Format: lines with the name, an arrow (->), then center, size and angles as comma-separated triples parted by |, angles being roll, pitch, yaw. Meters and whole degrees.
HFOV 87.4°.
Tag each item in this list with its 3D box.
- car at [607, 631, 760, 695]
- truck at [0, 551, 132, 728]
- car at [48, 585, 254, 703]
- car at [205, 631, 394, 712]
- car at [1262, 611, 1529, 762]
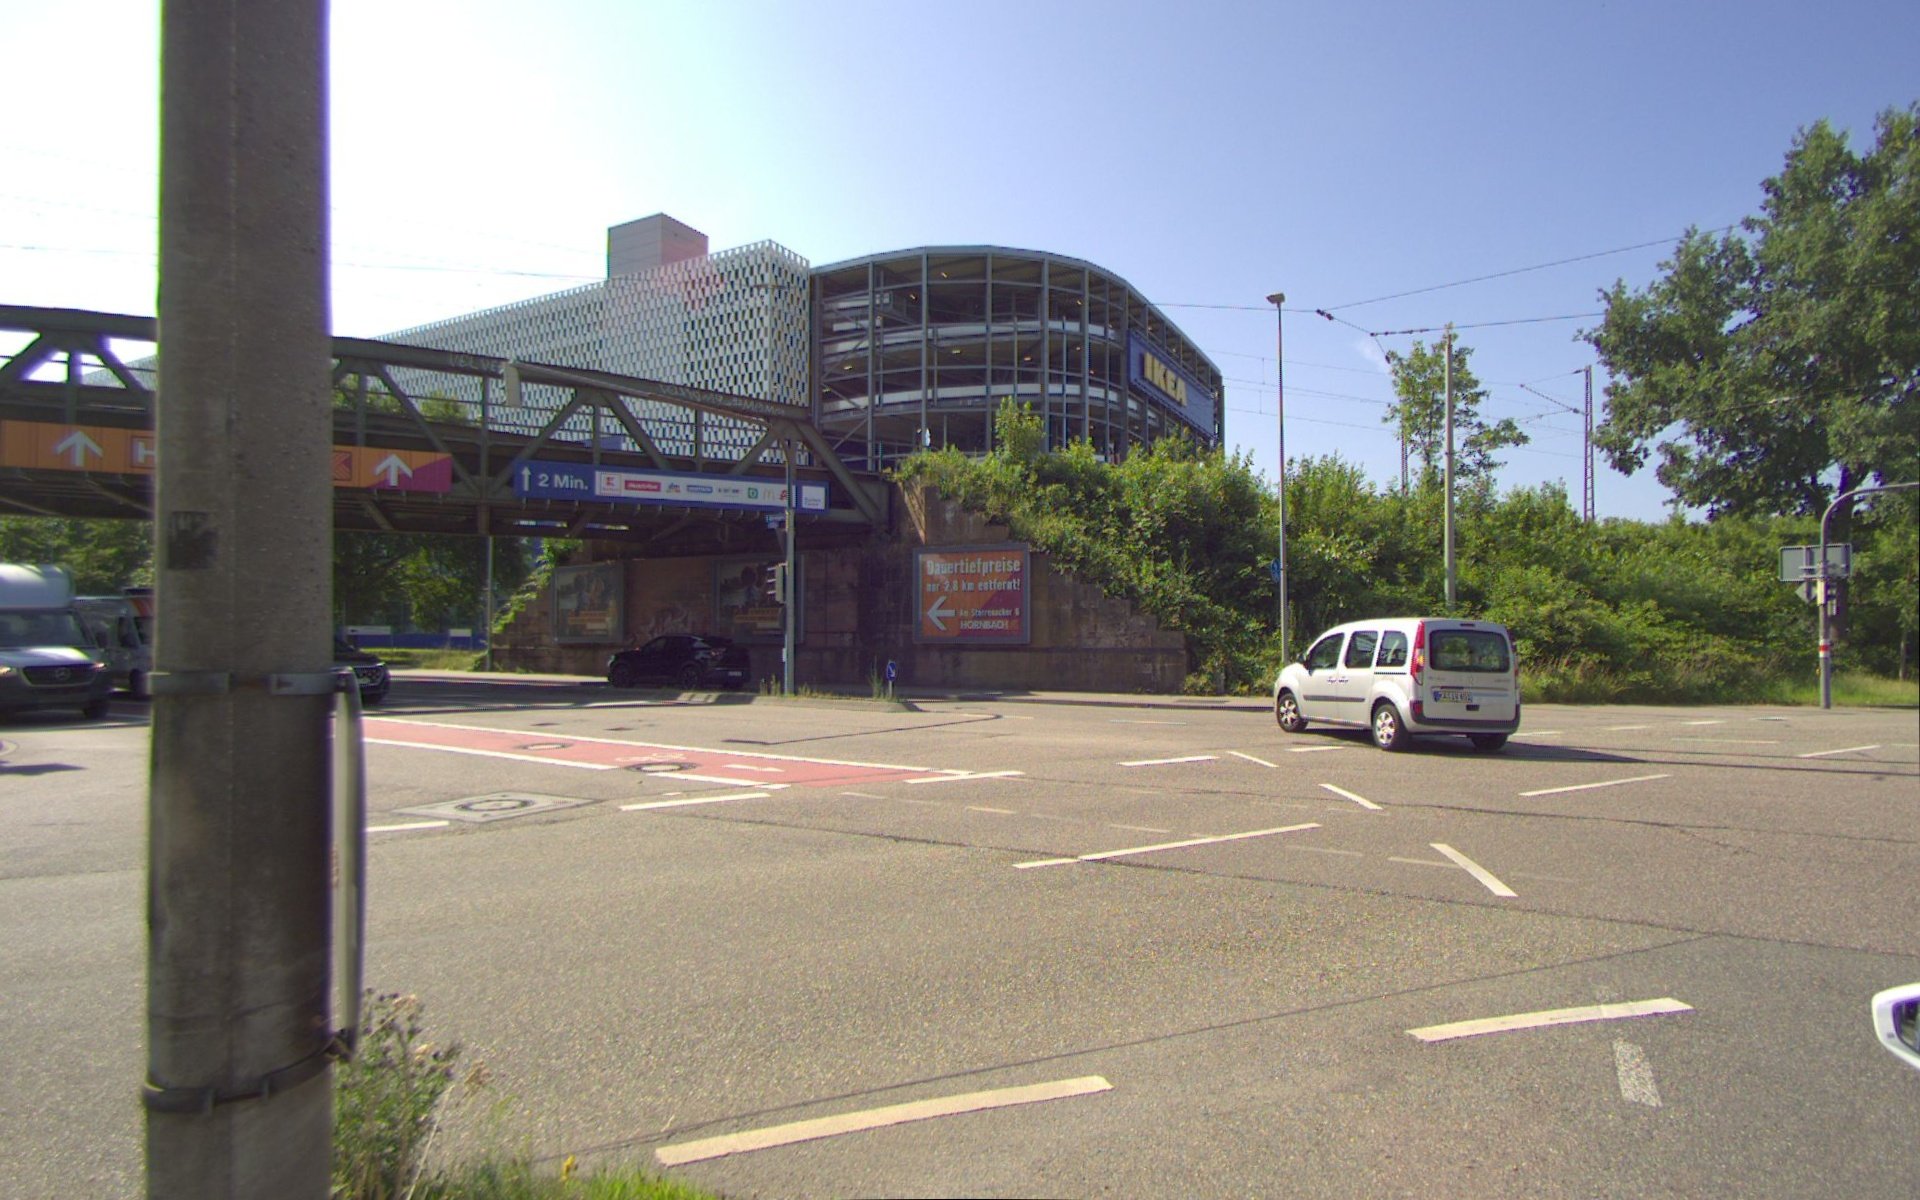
car -> -7.836, 1.720, 28.413 | 4.157, 1.684, 1.932 | -1, -2, 34
truck -> -19.644, 0.811, 20.228 | 6.741, 3.146, 2.215 | -2, -2, 28
car -> -21.539, 1.138, 26.672 | 6.090, 2.850, 2.171 | -1, -2, 30
car -> -14.750, 1.546, 22.432 | 3.928, 1.668, 1.902 | -2, -2, 28
car -> 6.253, 1.155, 14.986 | 1.759, 1.862, 3.994 | 2, 0, -9
